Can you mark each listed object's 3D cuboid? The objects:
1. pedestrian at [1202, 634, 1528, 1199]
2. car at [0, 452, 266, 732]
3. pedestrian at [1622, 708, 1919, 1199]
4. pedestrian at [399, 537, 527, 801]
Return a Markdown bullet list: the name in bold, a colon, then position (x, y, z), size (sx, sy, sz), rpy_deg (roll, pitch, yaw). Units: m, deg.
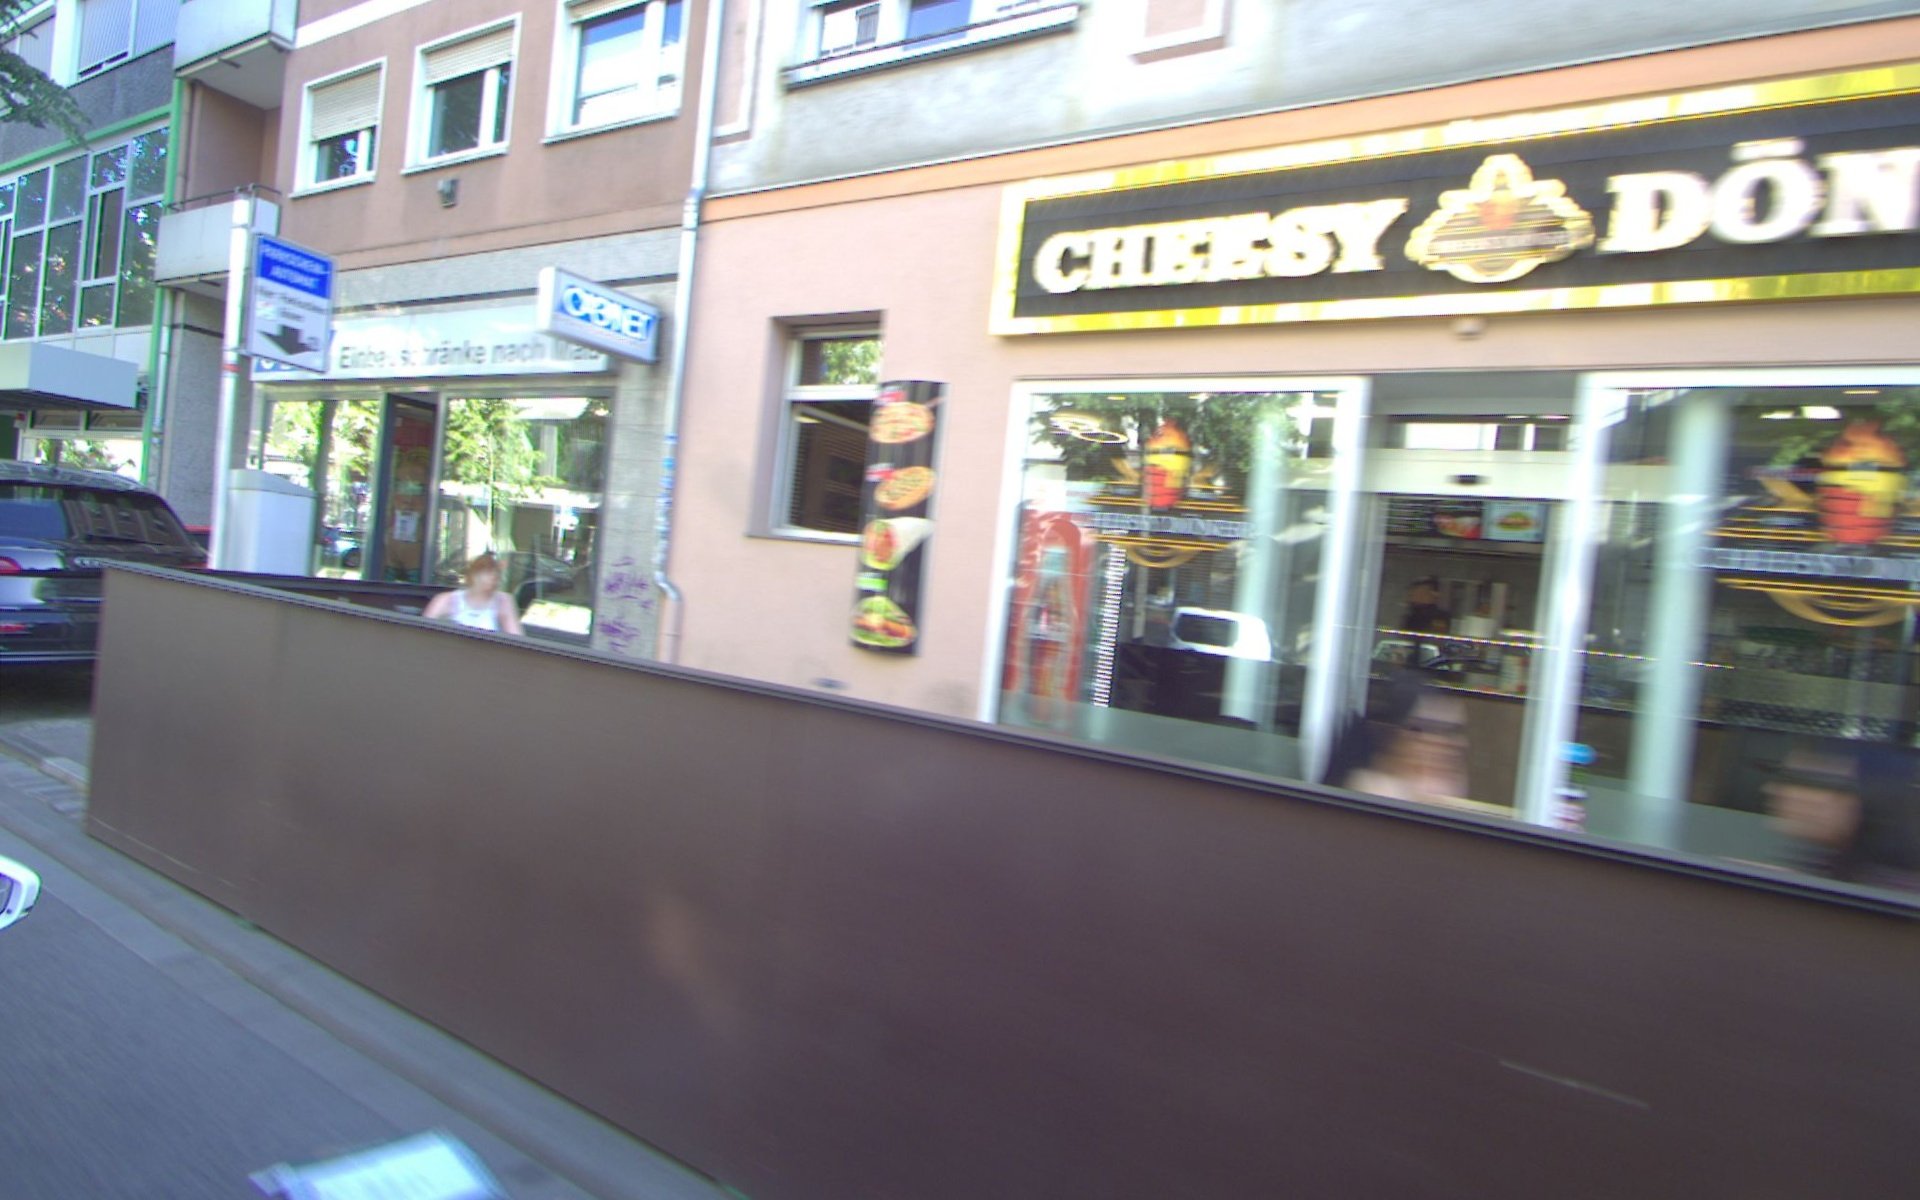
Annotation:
- **pedestrian**: position (1.073, 0.815, 2.651), size (0.584, 1.379, 0.473), rpy_deg (7, 1, 32)
- **car**: position (-7.500, -0.270, 7.650), size (4.440, 1.714, 1.992), rpy_deg (7, 5, 31)
- **pedestrian**: position (1.733, 0.960, 1.999), size (0.584, 1.396, 0.552), rpy_deg (7, 1, 32)
- **pedestrian**: position (-2.692, 0.364, 5.436), size (0.469, 1.348, 0.479), rpy_deg (5, 1, -32)
